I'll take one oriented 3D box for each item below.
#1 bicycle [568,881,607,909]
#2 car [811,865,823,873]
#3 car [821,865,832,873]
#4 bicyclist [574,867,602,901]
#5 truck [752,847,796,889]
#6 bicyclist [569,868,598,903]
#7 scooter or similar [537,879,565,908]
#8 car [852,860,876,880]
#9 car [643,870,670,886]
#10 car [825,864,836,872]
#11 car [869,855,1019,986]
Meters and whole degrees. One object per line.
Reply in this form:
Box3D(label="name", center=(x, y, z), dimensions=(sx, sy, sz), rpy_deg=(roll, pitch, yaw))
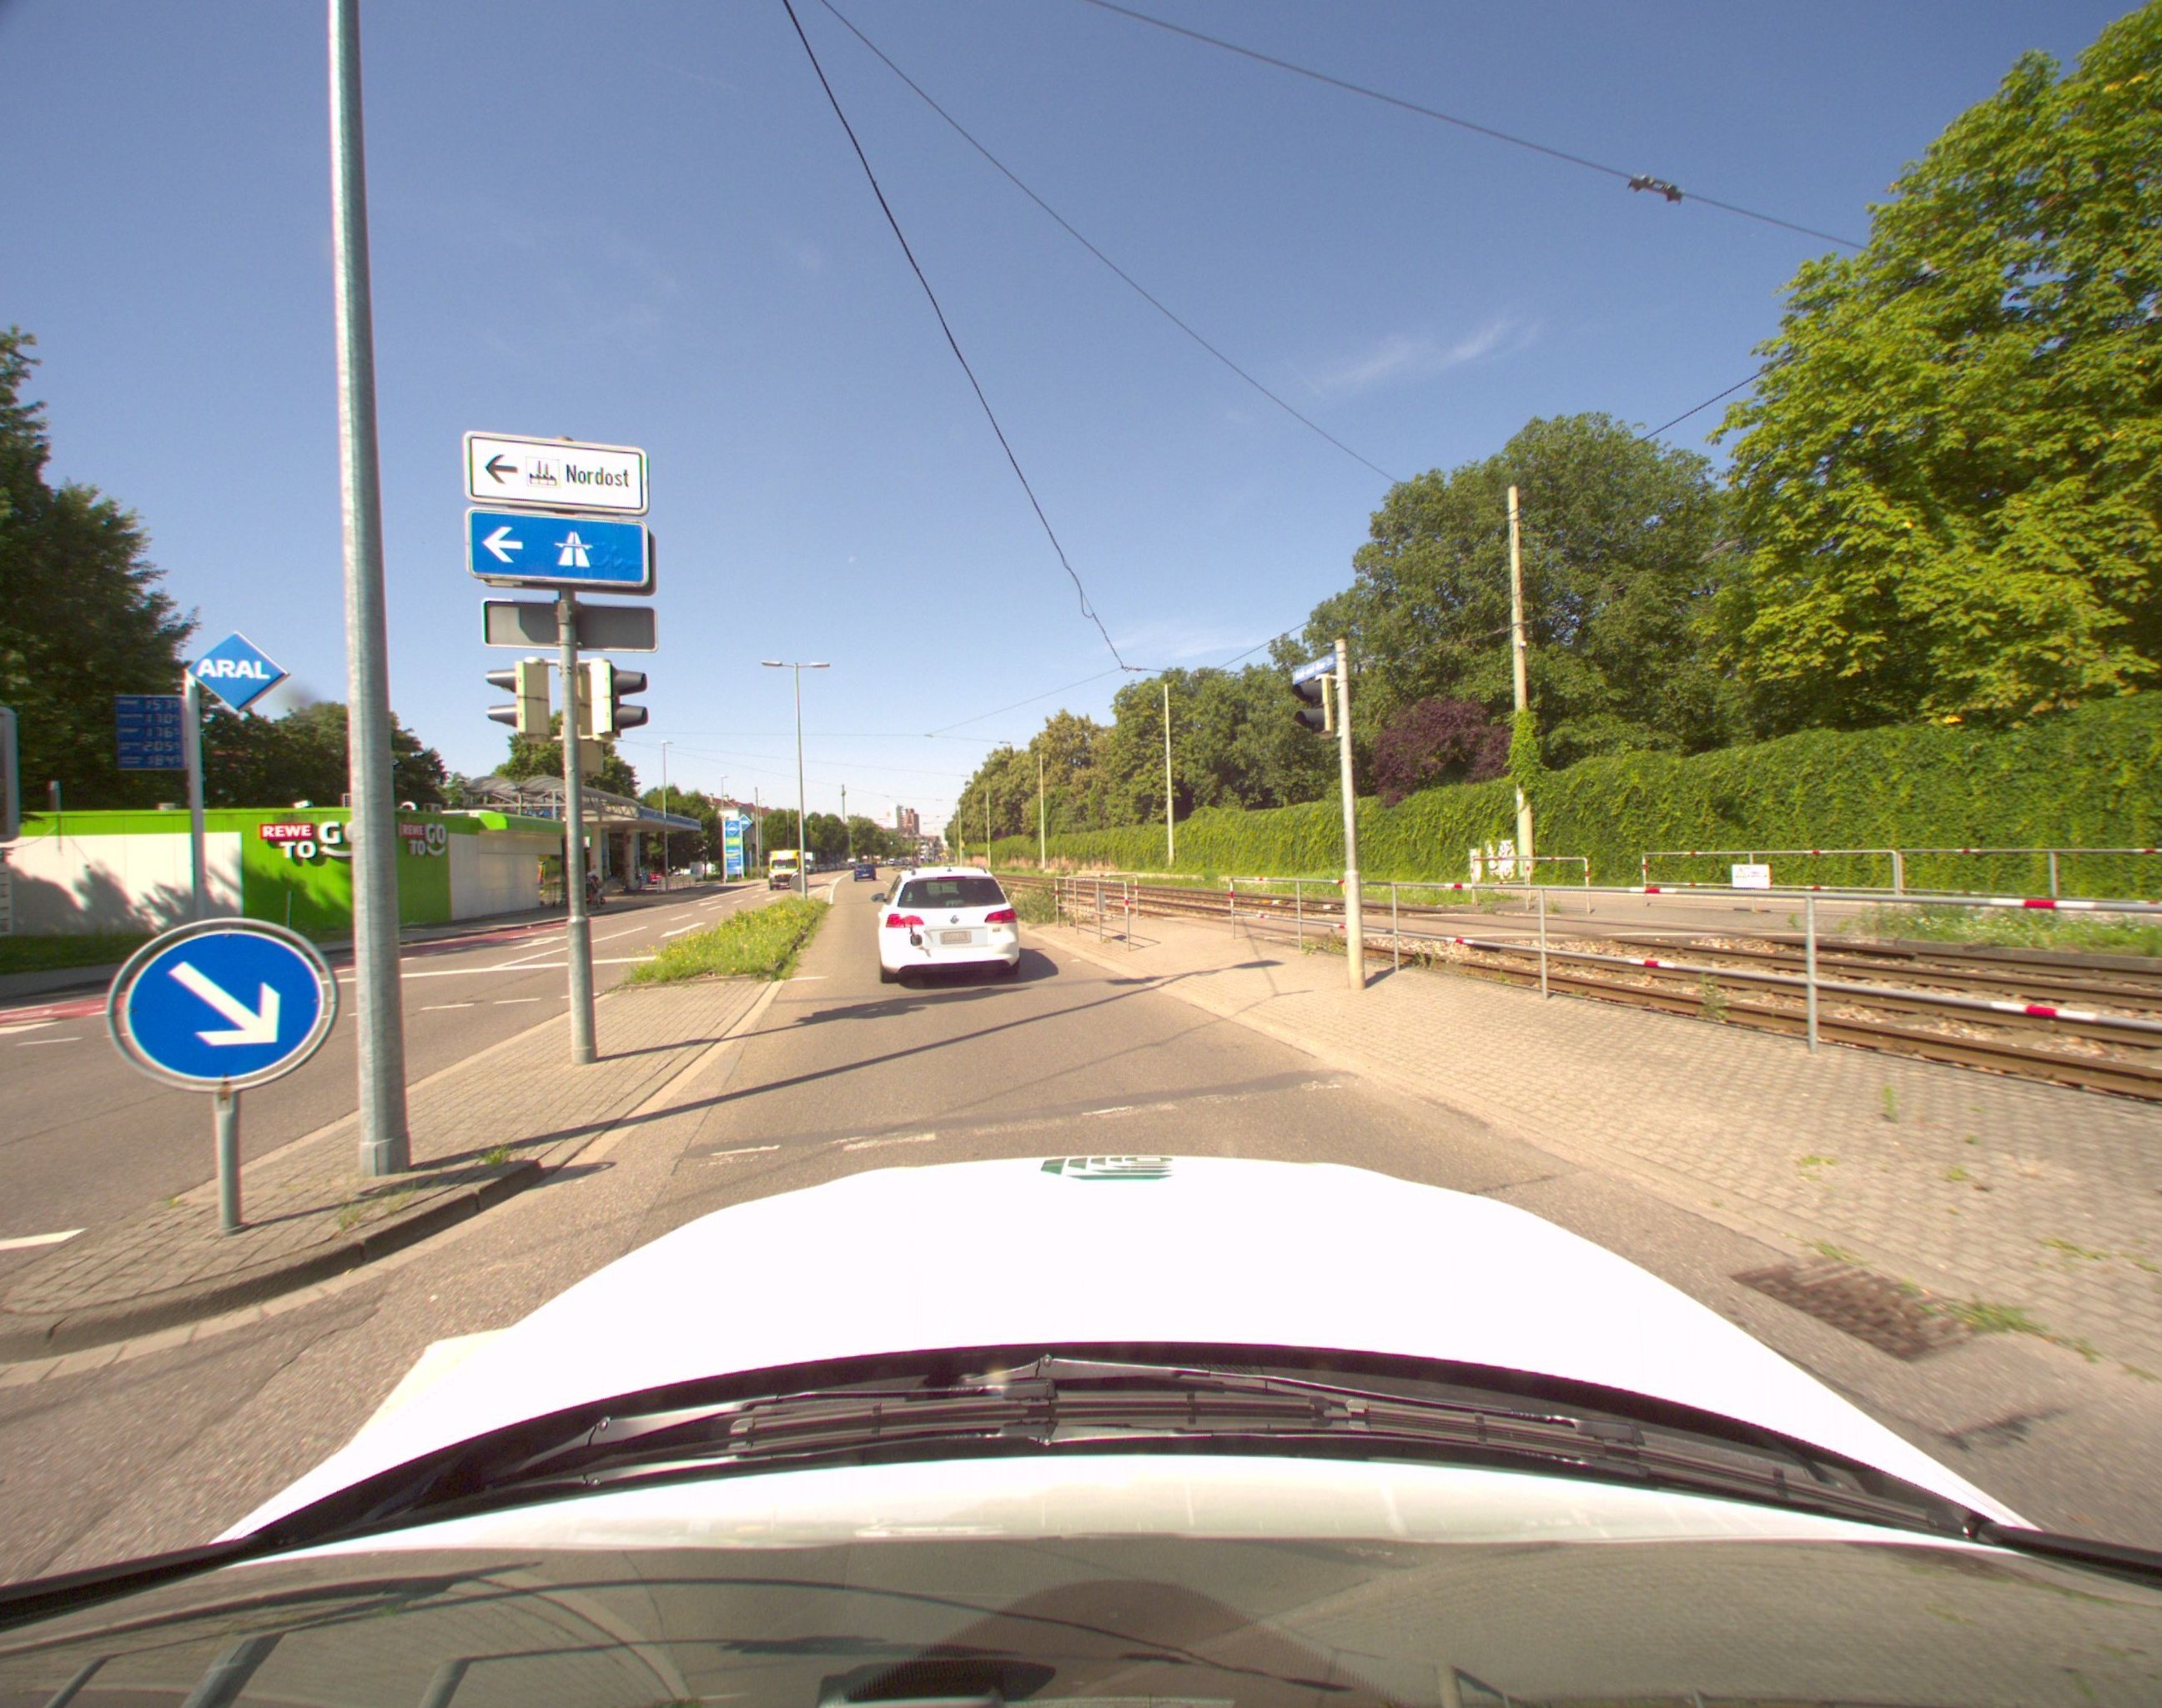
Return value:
Box3D(label="bicycle", center=(-21.878, 1.808, 36.149), dimensions=(0.828, 1.094, 2.754), rpy_deg=(-3, 0, -19))
Box3D(label="car", center=(-51.657, 2.995, 159.415), dimensions=(1.783, 1.483, 4.834), rpy_deg=(-1, -1, -14))
Box3D(label="car", center=(-53.772, 3.059, 171.863), dimensions=(1.717, 1.625, 4.296), rpy_deg=(-1, -1, -11))
Box3D(label="bicyclist", center=(-21.900, 1.312, 36.199), dimensions=(0.850, 1.436, 0.827), rpy_deg=(-2, 0, -20))
Box3D(label="truck", center=(-21.577, 0.978, 57.572), dimensions=(2.336, 2.668, 7.316), rpy_deg=(-3, 0, -17))
Box3D(label="bicyclist", center=(-21.644, 1.346, 35.431), dimensions=(0.849, 1.435, 0.827), rpy_deg=(-2, 1, -18))
Box3D(label="scooter or similar", center=(-24.369, 1.802, 37.465), dimensions=(0.441, 1.237, 1.343), rpy_deg=(-3, 0, -6))
Box3D(label="car", center=(-17.805, 1.296, 66.860), dimensions=(1.803, 1.507, 3.981), rpy_deg=(-1, 1, -14))
Box3D(label="car", center=(-48.091, 2.723, 92.312), dimensions=(1.803, 1.570, 4.494), rpy_deg=(-3, 1, -15))
Box3D(label="car", center=(-54.593, 3.071, 177.329), dimensions=(1.770, 1.723, 4.850), rpy_deg=(0, -1, -12))
Box3D(label="car", center=(-2.094, 0.785, 11.611), dimensions=(1.693, 1.451, 4.437), rpy_deg=(-1, 0, -14))
